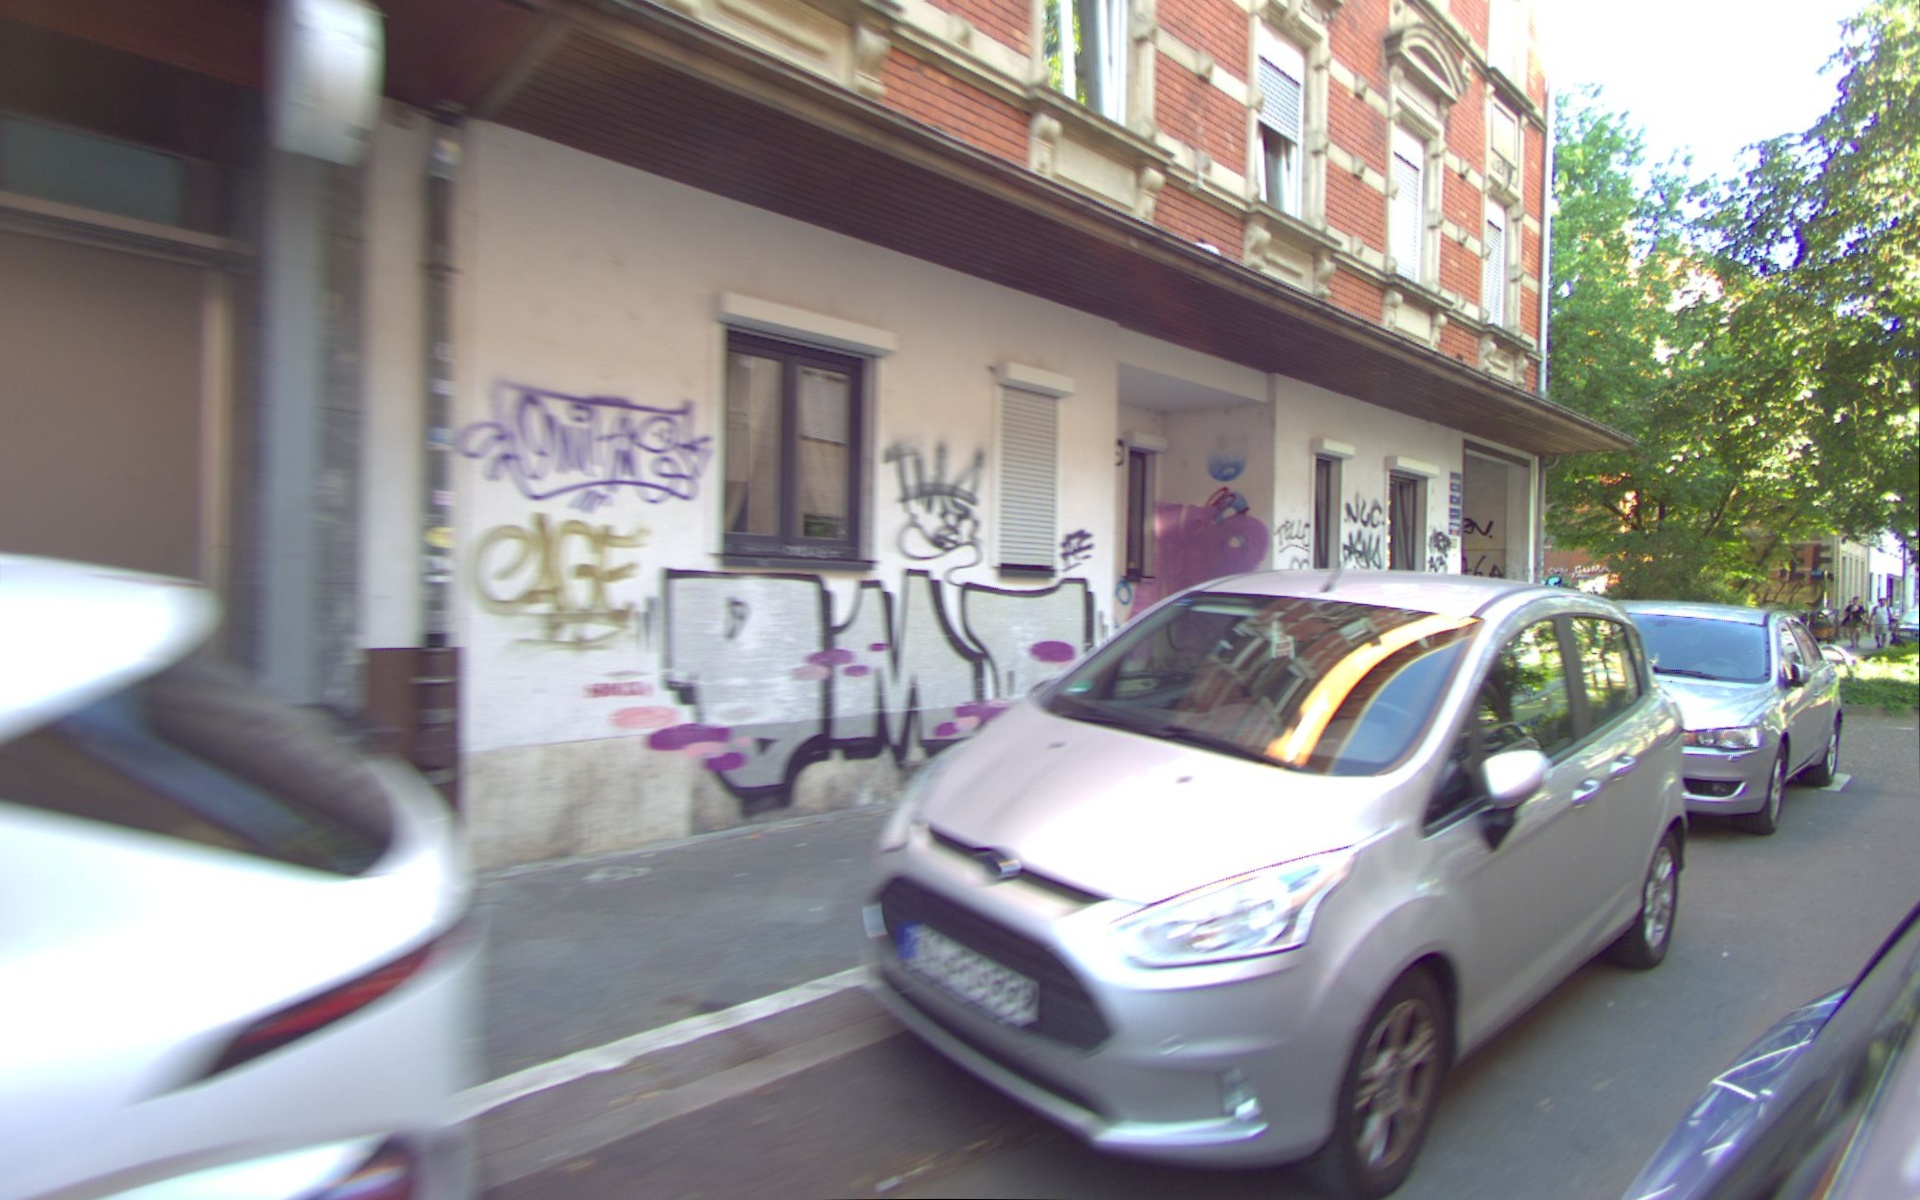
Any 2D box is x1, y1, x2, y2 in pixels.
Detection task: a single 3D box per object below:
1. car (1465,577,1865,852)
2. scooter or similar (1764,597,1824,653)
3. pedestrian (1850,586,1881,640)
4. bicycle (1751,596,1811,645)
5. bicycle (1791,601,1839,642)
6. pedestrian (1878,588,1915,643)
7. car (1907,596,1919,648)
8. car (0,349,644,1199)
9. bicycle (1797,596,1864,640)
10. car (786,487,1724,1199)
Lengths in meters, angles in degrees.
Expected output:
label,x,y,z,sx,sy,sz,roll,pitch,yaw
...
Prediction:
label,x,y,z,sx,sy,sz,roll,pitch,yaw
car,5.739,0.661,7.998,4.324,1.581,1.723,0,1,-43
scooter or similar,20.517,0.605,24.922,0.539,1.277,1.466,2,2,16
pedestrian,30.136,0.425,33.673,0.694,1.729,0.598,0,4,-43
bicycle,22.926,0.559,28.231,2.645,1.283,0.848,1,1,-41
bicycle,26.922,0.666,31.865,1.947,1.216,0.848,1,1,-41
pedestrian,30.996,0.499,33.492,0.739,1.729,0.711,0,4,-43
car,30.336,0.684,30.970,4.341,1.512,1.723,0,3,-44
car,-2.554,0.617,0.465,4.266,1.696,1.749,0,2,-42
bicycle,28.883,0.569,33.573,2.285,1.317,1.294,0,3,-40
car,1.415,0.594,3.812,3.803,1.677,1.642,0,1,-42
